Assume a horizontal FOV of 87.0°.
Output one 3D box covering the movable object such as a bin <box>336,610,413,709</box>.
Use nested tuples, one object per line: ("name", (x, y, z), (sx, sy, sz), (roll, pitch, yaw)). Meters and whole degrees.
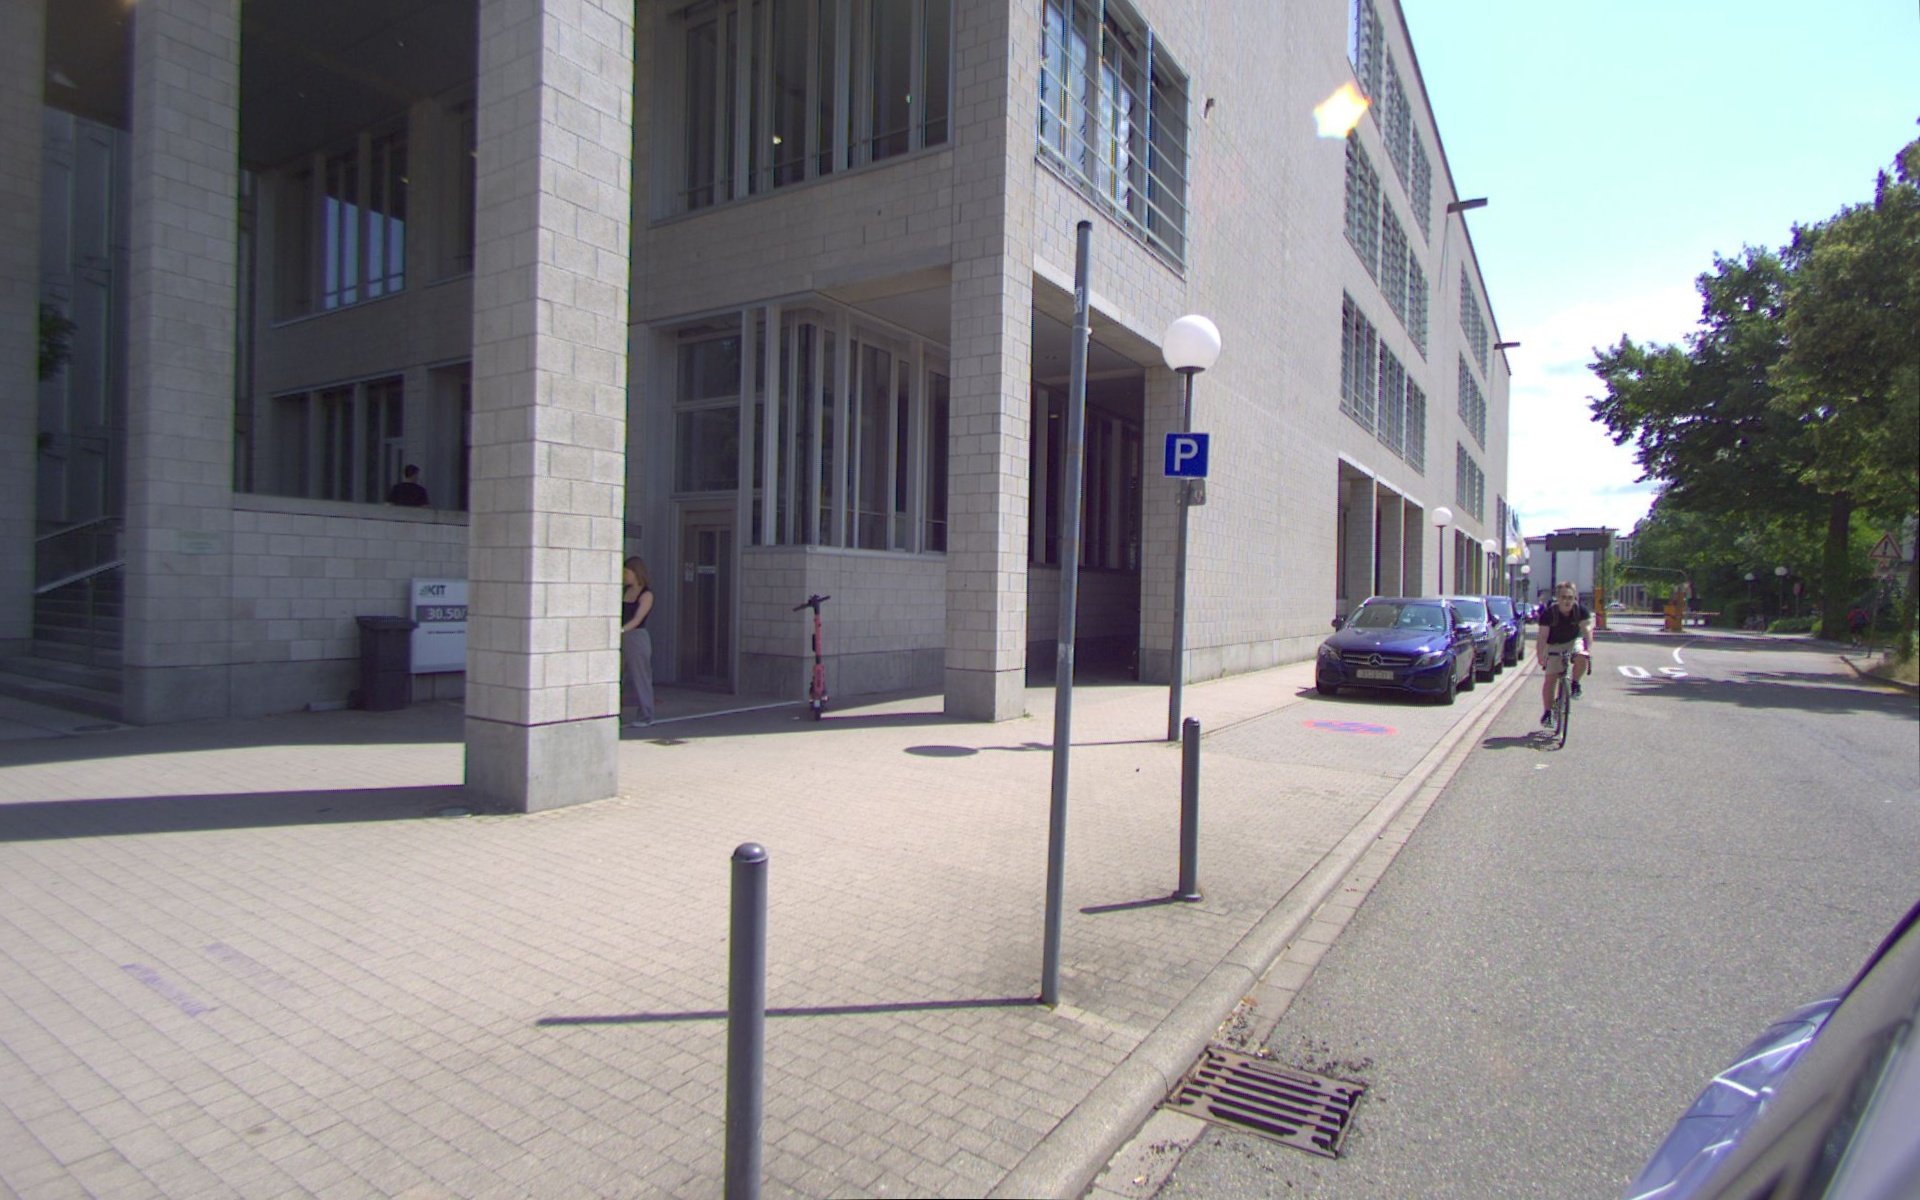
("movable object such as a bin", (-5.840, 0.585, 10.105), (0.543, 0.950, 0.371), (1, 0, 14))

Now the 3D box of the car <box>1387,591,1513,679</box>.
("car", (9.673, 0.605, 19.831), (1.837, 1.494, 4.088), (2, 1, 31))

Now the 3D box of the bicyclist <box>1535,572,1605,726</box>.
("bicyclist", (6.444, 0.495, 10.687), (0.601, 1.554, 0.719), (0, 0, 34))

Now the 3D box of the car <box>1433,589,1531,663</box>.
("car", (12.799, 0.570, 24.705), (1.837, 1.601, 4.088), (2, 1, 31))

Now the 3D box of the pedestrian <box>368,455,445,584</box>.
("pedestrian", (-8.188, -1.160, 14.973), (0.879, 1.826, 0.693), (2, 0, 40))

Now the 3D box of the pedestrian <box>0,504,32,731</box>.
("pedestrian", (-8.015, 0.138, 8.066), (0.579, 1.825, 0.685), (2, 0, 1))

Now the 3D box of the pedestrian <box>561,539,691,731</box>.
("pedestrian", (-3.083, 0.297, 9.378), (0.698, 1.676, 0.872), (2, 0, 34))

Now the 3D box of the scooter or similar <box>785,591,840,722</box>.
("scooter or similar", (-1.495, 0.531, 10.391), (0.352, 1.239, 1.429), (1, 1, -1))

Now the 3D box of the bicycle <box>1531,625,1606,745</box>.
("bicycle", (6.556, 0.857, 10.862), (0.601, 1.122, 1.808), (0, 0, 34))

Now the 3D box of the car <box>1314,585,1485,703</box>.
("car", (6.775, 0.567, 15.360), (1.837, 1.494, 4.088), (2, 1, 31))
